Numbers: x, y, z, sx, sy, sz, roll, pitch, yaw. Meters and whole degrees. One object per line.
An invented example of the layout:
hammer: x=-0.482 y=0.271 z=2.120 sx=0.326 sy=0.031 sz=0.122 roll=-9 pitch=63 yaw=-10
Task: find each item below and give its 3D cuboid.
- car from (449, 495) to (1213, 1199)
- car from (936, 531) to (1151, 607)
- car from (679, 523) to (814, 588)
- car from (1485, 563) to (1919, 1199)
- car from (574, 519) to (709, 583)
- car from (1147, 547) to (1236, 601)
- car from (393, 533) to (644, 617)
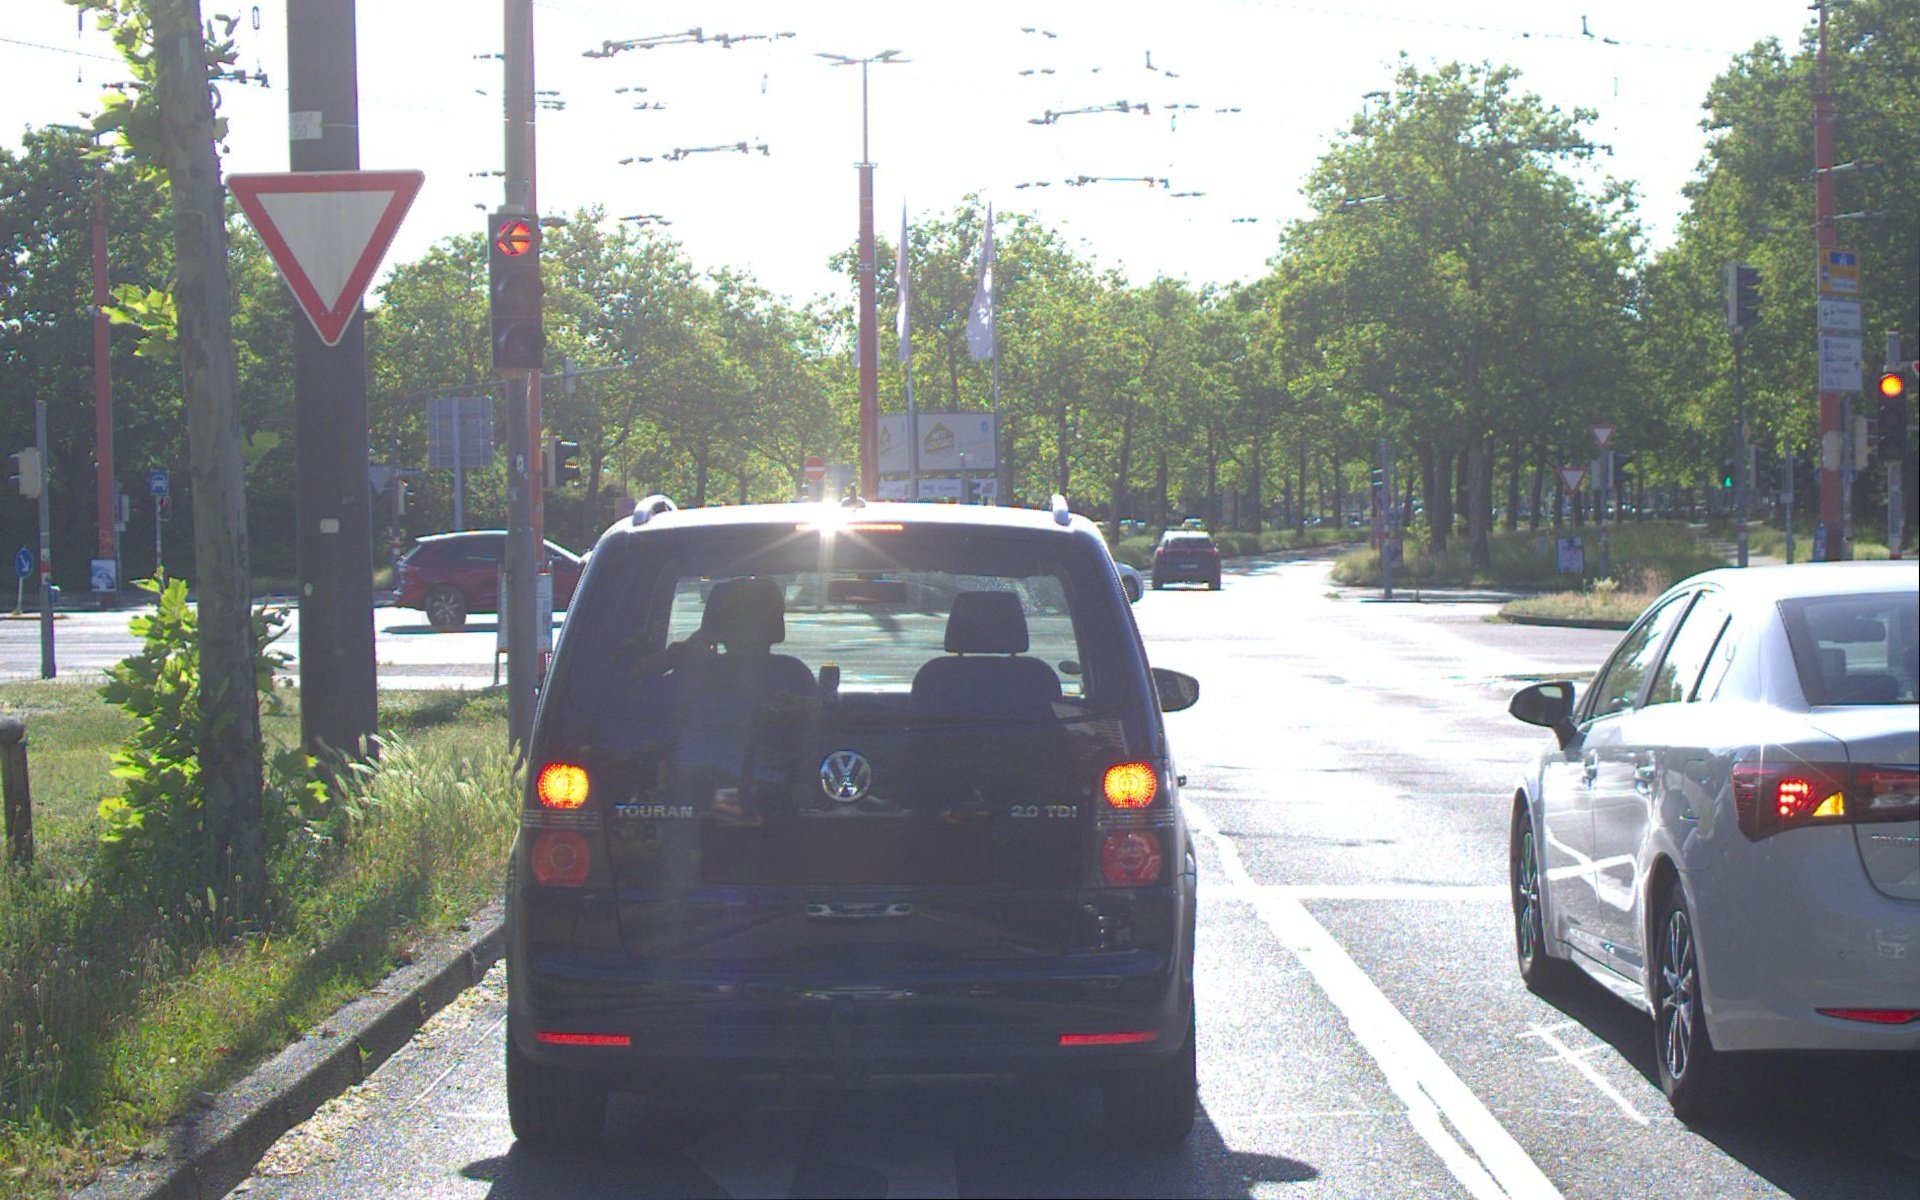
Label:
car: x=-0.316 y=0.549 z=9.869 sx=1.737 sy=1.635 sz=4.000 roll=0 pitch=1 yaw=-1
car: x=1.683 y=-0.629 z=68.190 sx=1.913 sy=1.459 sz=4.212 roll=1 pitch=1 yaw=45
car: x=-5.646 y=-1.192 z=91.631 sx=1.995 sy=1.679 sz=4.825 roll=0 pitch=1 yaw=17
car: x=2.688 y=0.633 z=10.070 sx=1.715 sy=1.449 sz=4.144 roll=0 pitch=1 yaw=1
car: x=-8.609 y=-1.346 z=93.351 sx=1.995 sy=1.679 sz=4.825 roll=0 pitch=1 yaw=17
car: x=6.386 y=-0.729 z=94.482 sx=1.909 sy=1.459 sz=4.221 roll=0 pitch=1 yaw=11
car: x=-7.986 y=-0.463 z=62.051 sx=4.358 sy=1.459 sz=1.915 roll=-1 pitch=1 yaw=-11
